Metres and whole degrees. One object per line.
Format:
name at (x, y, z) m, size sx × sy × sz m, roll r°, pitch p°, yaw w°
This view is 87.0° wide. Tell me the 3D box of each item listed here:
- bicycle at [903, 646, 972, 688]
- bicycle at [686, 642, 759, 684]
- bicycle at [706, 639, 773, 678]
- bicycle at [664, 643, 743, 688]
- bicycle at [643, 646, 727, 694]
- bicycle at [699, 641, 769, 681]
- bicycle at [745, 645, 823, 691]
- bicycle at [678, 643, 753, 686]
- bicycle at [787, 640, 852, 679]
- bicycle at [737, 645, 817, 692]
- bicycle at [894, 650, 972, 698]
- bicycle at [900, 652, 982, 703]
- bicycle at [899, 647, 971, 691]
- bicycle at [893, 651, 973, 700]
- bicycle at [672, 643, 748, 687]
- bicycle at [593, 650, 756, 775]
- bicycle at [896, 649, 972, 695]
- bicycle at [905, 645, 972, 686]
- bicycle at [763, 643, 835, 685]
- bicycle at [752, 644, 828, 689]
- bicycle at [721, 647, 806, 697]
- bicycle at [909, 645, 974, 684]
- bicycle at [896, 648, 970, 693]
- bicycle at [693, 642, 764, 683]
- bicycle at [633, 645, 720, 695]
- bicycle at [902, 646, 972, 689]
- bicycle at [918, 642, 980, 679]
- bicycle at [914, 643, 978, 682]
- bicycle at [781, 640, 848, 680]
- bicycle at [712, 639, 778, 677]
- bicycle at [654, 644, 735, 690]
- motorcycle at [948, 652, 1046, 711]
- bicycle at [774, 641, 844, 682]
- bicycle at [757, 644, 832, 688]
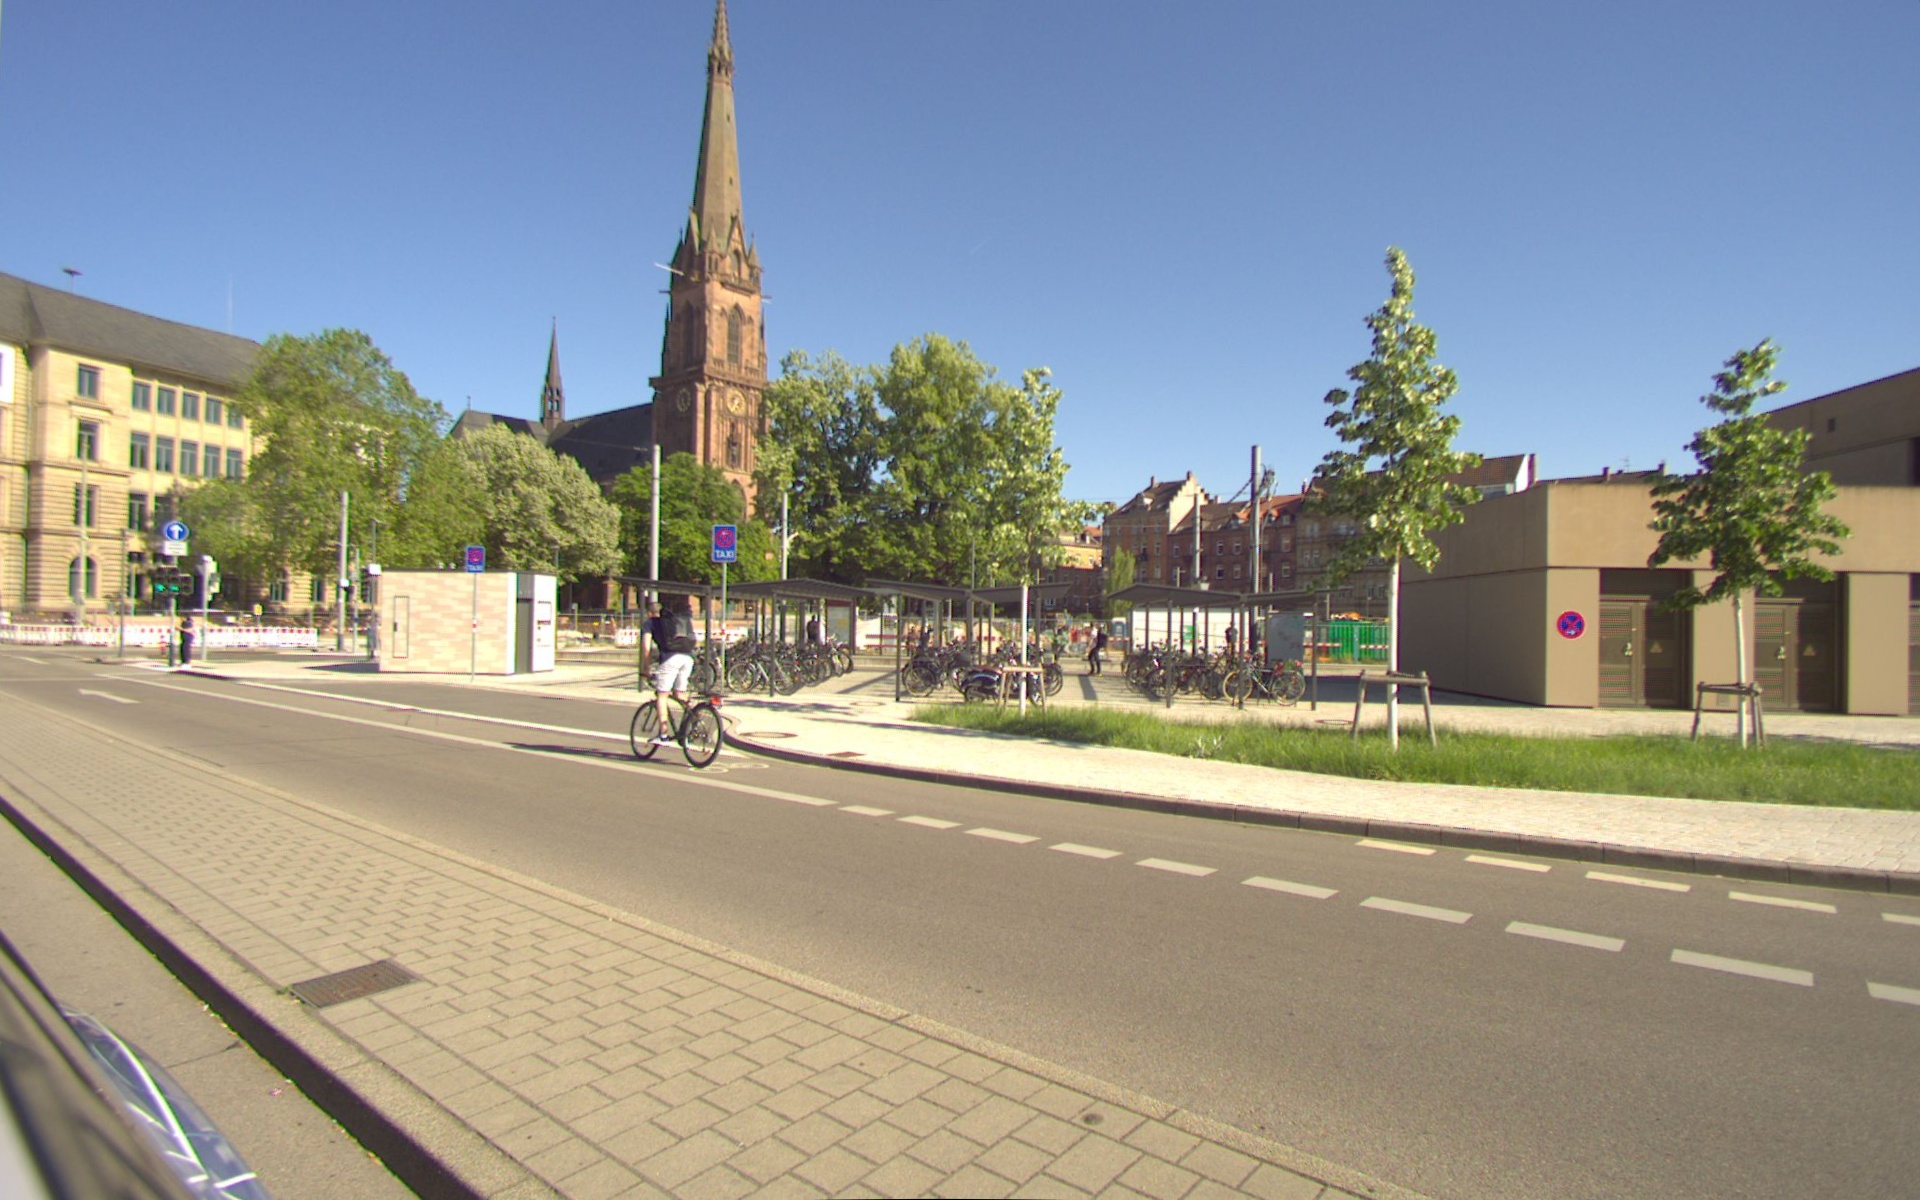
bicycle at (-0.589, 1.764, 26.756) m, size 1.764 × 1.046 × 0.567 m, roll 1°, pitch -3°, yaw 3°
bicycle at (-6.278, 1.668, 26.759) m, size 1.764 × 1.046 × 0.567 m, roll 1°, pitch -3°, yaw 3°
bicycle at (-6.228, 1.654, 28.625) m, size 1.764 × 1.046 × 0.567 m, roll 1°, pitch -3°, yaw 3°
bicycle at (-6.304, 1.609, 24.894) m, size 1.764 × 1.046 × 0.567 m, roll 1°, pitch -3°, yaw 3°
bicycle at (-6.357, 1.614, 23.449) m, size 1.764 × 1.046 × 0.567 m, roll 1°, pitch -3°, yaw 3°
bicycle at (-6.253, 1.684, 28.021) m, size 1.764 × 1.046 × 0.567 m, roll 1°, pitch -3°, yaw 3°
bicycle at (-4.259, 1.634, 24.570) m, size 1.764 × 1.046 × 0.567 m, roll 1°, pitch -3°, yaw 3°
bicycle at (-6.297, 1.657, 26.142) m, size 1.764 × 1.046 × 0.567 m, roll 1°, pitch -3°, yaw 3°
bicycle at (-4.013, 1.699, 28.954) m, size 1.764 × 1.046 × 0.567 m, roll 1°, pitch -3°, yaw 3°
bicycle at (-4.314, 1.624, 23.959) m, size 1.764 × 1.046 × 0.567 m, roll 1°, pitch -3°, yaw 3°
bicycle at (-0.610, 1.709, 23.579) m, size 1.764 × 1.046 × 0.567 m, roll 1°, pitch -3°, yaw 3°
bicycle at (-0.409, 1.708, 22.398) m, size 1.764 × 1.046 × 0.567 m, roll 1°, pitch -3°, yaw 3°
bicycle at (-0.617, 1.730, 25.542) m, size 1.764 × 1.046 × 0.567 m, roll 1°, pitch -3°, yaw 3°
bicycle at (-0.602, 1.703, 22.993) m, size 1.764 × 1.046 × 0.567 m, roll 1°, pitch -3°, yaw 3°
bicycle at (-6.295, 1.629, 25.526) m, size 1.764 × 1.046 × 0.567 m, roll 1°, pitch -3°, yaw 3°
bicycle at (-3.095, 1.157, 10.873) m, size 1.869 × 1.174 × 0.738 m, roll -1°, pitch -3°, yaw 40°
bicycle at (-0.617, 1.720, 24.238) m, size 1.764 × 1.046 × 0.567 m, roll 1°, pitch -3°, yaw 3°
bicycle at (-0.578, 1.761, 27.351) m, size 1.764 × 1.046 × 0.567 m, roll 1°, pitch -3°, yaw 3°
bicycle at (-4.186, 1.664, 26.386) m, size 1.764 × 1.046 × 0.567 m, roll 1°, pitch -3°, yaw 3°
bicycle at (-4.219, 1.650, 25.170) m, size 1.764 × 1.046 × 0.567 m, roll 1°, pitch -3°, yaw 3°
bicycle at (-4.393, 1.611, 22.667) m, size 1.764 × 1.046 × 0.567 m, roll 1°, pitch -3°, yaw 3°
bicycle at (-0.497, 1.793, 28.221) m, size 1.764 × 1.046 × 0.567 m, roll 1°, pitch -3°, yaw 3°
bicycle at (-0.660, 1.721, 24.868) m, size 1.764 × 1.046 × 0.567 m, roll 1°, pitch -3°, yaw 3°
bicycle at (-6.267, 1.678, 27.425) m, size 1.764 × 1.046 × 0.567 m, roll 1°, pitch -3°, yaw 3°
bicycle at (-6.383, 1.571, 22.799) m, size 1.764 × 1.046 × 0.567 m, roll 1°, pitch -3°, yaw 3°
bicycle at (-0.586, 1.745, 26.157) m, size 1.764 × 1.046 × 0.567 m, roll 1°, pitch -3°, yaw 3°
bicycle at (-0.309, 1.770, 29.715) m, size 1.764 × 1.046 × 0.567 m, roll 1°, pitch -3°, yaw 3°
bicycle at (-0.398, 1.776, 28.948) m, size 1.764 × 1.046 × 0.567 m, roll 1°, pitch -3°, yaw 3°
bicycle at (-4.067, 1.672, 28.289) m, size 1.764 × 1.046 × 0.567 m, roll 1°, pitch -3°, yaw 3°
bicycle at (-6.191, 1.677, 29.217) m, size 1.764 × 1.046 × 0.567 m, roll 1°, pitch -3°, yaw 3°
bicycle at (-6.332, 1.600, 24.206) m, size 1.764 × 1.046 × 0.567 m, roll 1°, pitch -3°, yaw 3°
motorcycle at (0.762, 1.656, 20.705) m, size 1.961 × 1.127 × 0.594 m, roll 0°, pitch -1°, yaw 7°
bicycle at (-4.113, 1.677, 27.626) m, size 1.764 × 1.046 × 0.567 m, roll 1°, pitch -3°, yaw 3°
bicycle at (-4.209, 1.668, 25.784) m, size 1.764 × 1.046 × 0.567 m, roll 1°, pitch -3°, yaw 3°
